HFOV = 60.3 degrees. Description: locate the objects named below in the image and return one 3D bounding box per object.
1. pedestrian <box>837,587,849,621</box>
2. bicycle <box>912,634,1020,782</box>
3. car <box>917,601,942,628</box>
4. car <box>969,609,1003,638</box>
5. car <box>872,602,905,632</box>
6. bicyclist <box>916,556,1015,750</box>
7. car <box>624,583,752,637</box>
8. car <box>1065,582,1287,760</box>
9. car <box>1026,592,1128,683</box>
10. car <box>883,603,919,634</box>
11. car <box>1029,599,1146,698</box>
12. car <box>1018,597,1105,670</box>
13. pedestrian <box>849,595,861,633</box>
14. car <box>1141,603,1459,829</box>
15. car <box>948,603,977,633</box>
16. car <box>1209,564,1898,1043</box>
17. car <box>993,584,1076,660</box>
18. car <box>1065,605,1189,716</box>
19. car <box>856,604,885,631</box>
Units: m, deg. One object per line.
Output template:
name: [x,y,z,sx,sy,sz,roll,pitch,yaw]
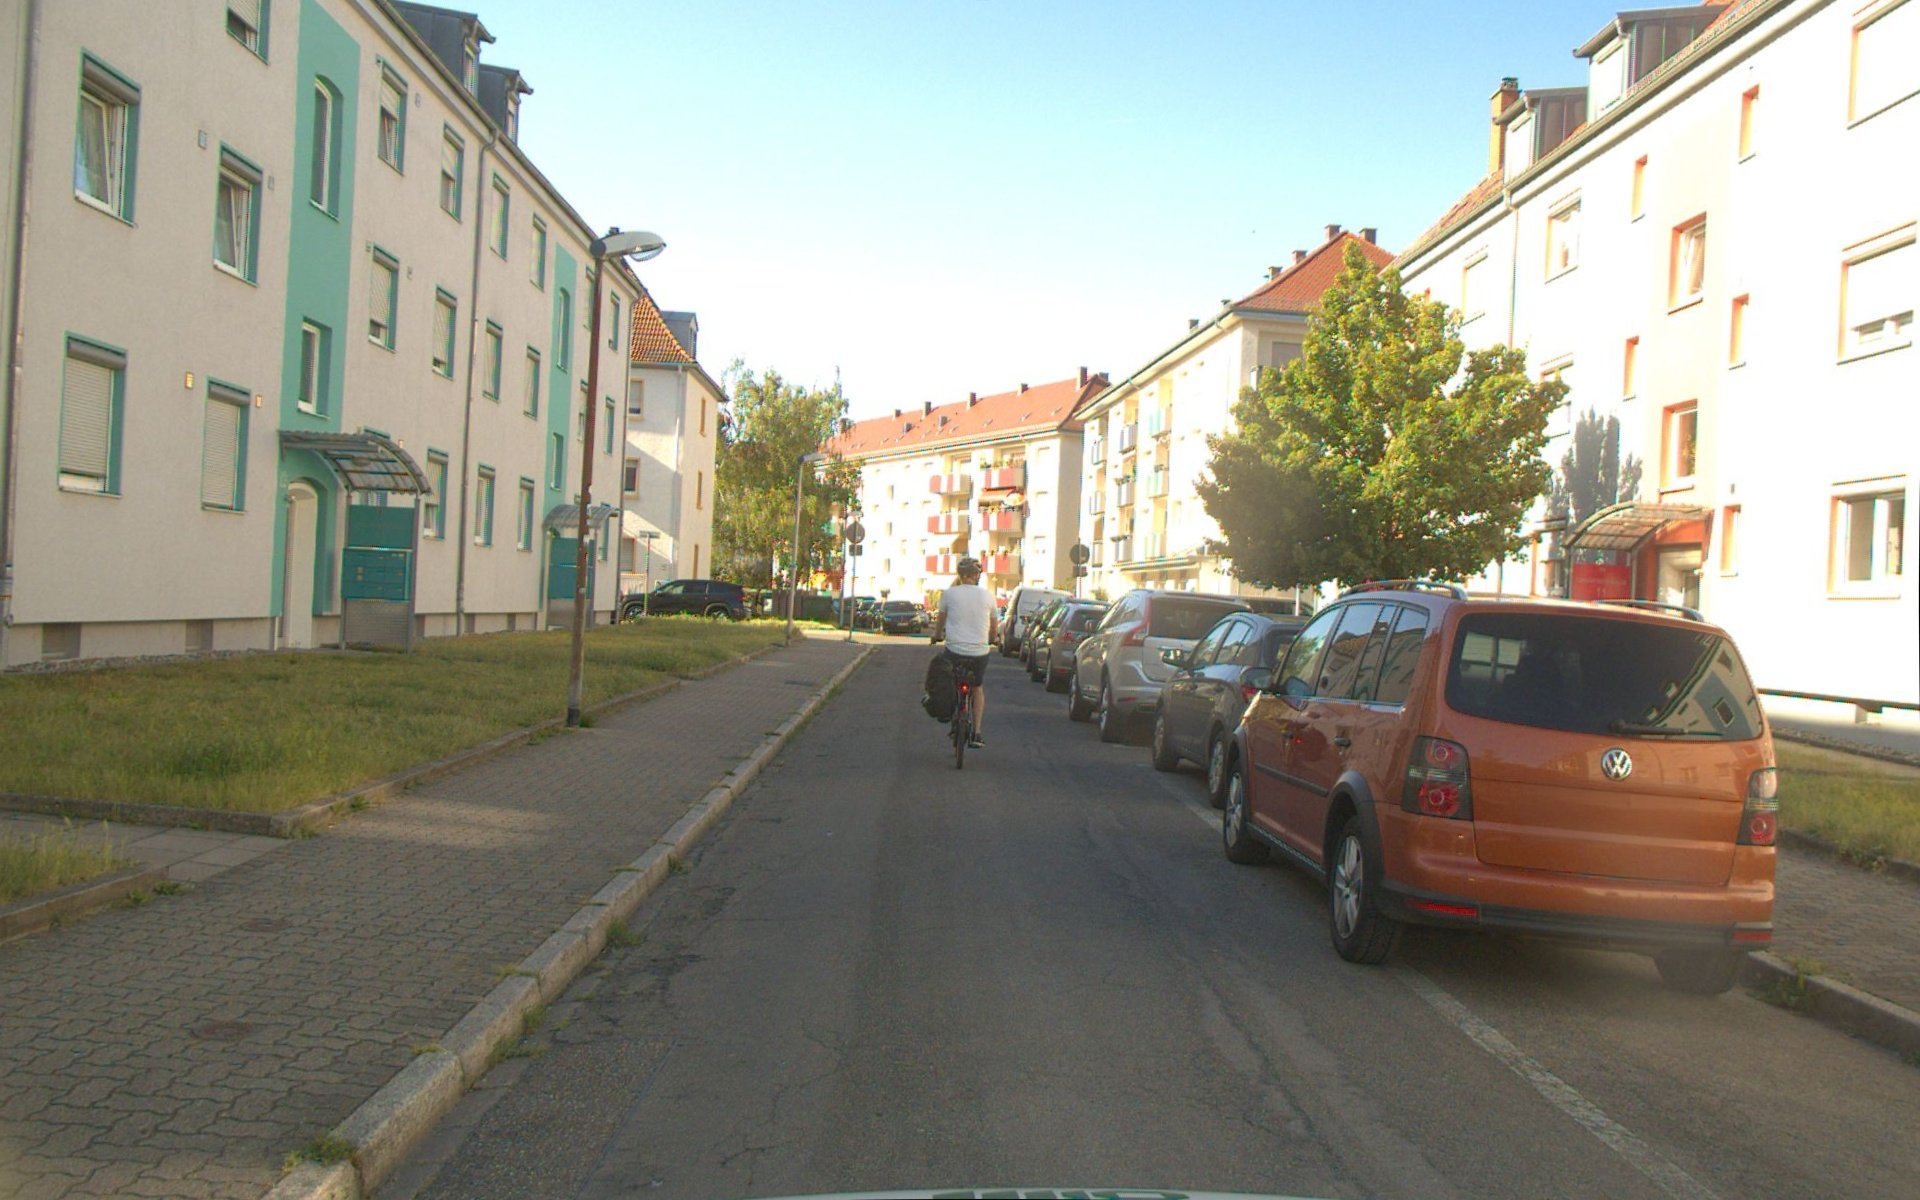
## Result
pedestrian: [-5.048,0.182,71.446,0.425,1.452,0.543,2,0,-2]
bicycle: [0.019,0.912,14.667,0.792,1.148,2.100,1,0,-4]
car: [-1.940,0.902,104.524,1.440,1.542,3.075,3,0,-3]
car: [1.325,1.204,85.043,1.440,1.358,3.139,3,0,-3]
car: [-3.467,0.785,79.731,1.441,1.358,3.137,-1,0,-5]
bicyclist: [0.035,0.460,14.874,0.792,1.672,0.898,1,0,-4]
car: [-9.242,0.333,56.456,4.149,1.667,1.581,2,0,-5]
car: [2.328,0.701,18.947,1.667,1.699,4.377,4,0,-3]
car: [2.265,0.689,32.708,1.528,1.604,3.364,3,0,-3]
car: [-2.705,0.830,75.379,1.441,1.358,3.137,-1,0,-6]
car: [2.105,0.768,28.197,1.527,1.436,3.932,3,0,-1]
car: [2.273,0.734,37.744,1.528,1.478,3.364,3,0,-3]
pedestrian: [-4.542,0.610,71.445,0.425,1.601,0.543,3,0,-2]
car: [2.705,0.856,14.022,1.586,1.486,3.838,5,0,-4]
car: [0.106,0.960,91.798,1.354,1.523,3.075,3,0,-3]
car: [2.577,0.772,8.365,1.824,1.697,4.126,4,0,-1]
car: [1.864,0.518,42.446,1.641,1.769,3.940,3,0,-3]
car: [2.397,0.835,24.348,1.363,1.427,3.243,3,0,-1]
car: [-4.711,0.908,86.346,1.440,1.358,3.138,-1,0,-4]
